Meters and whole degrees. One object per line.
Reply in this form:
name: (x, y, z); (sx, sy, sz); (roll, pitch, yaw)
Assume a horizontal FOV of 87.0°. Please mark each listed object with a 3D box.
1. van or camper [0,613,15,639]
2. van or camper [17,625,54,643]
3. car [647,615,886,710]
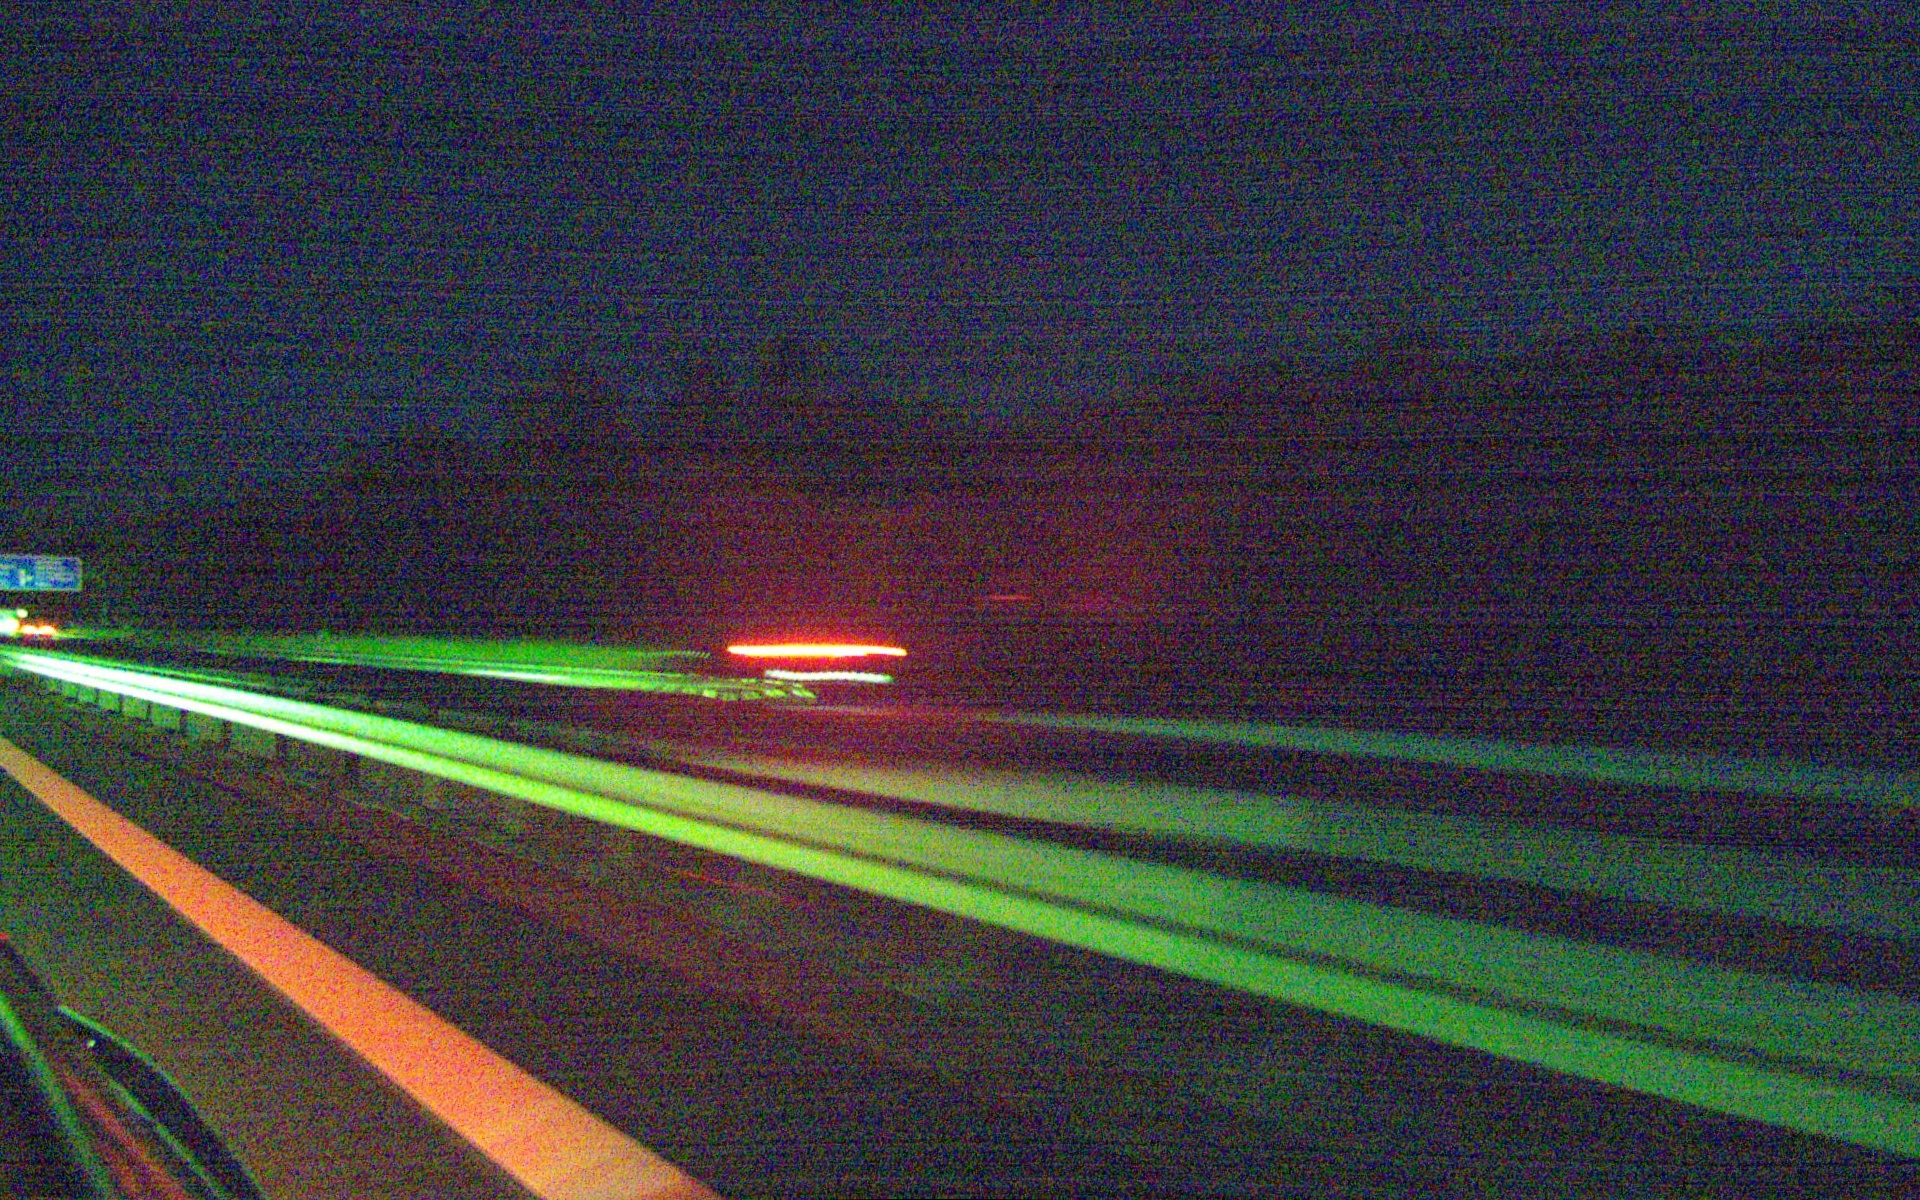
van or camper: (-101.144, 2.700, 105.972); (7.774, 2.651, 2.304); (-1, -4, 41)
van or camper: (-79.979, 2.963, 87.500); (5.100, 1.452, 1.761); (-1, -4, 41)
car: (-3.957, 1.180, 20.131); (5.073, 1.651, 1.972); (-1, -4, 42)
